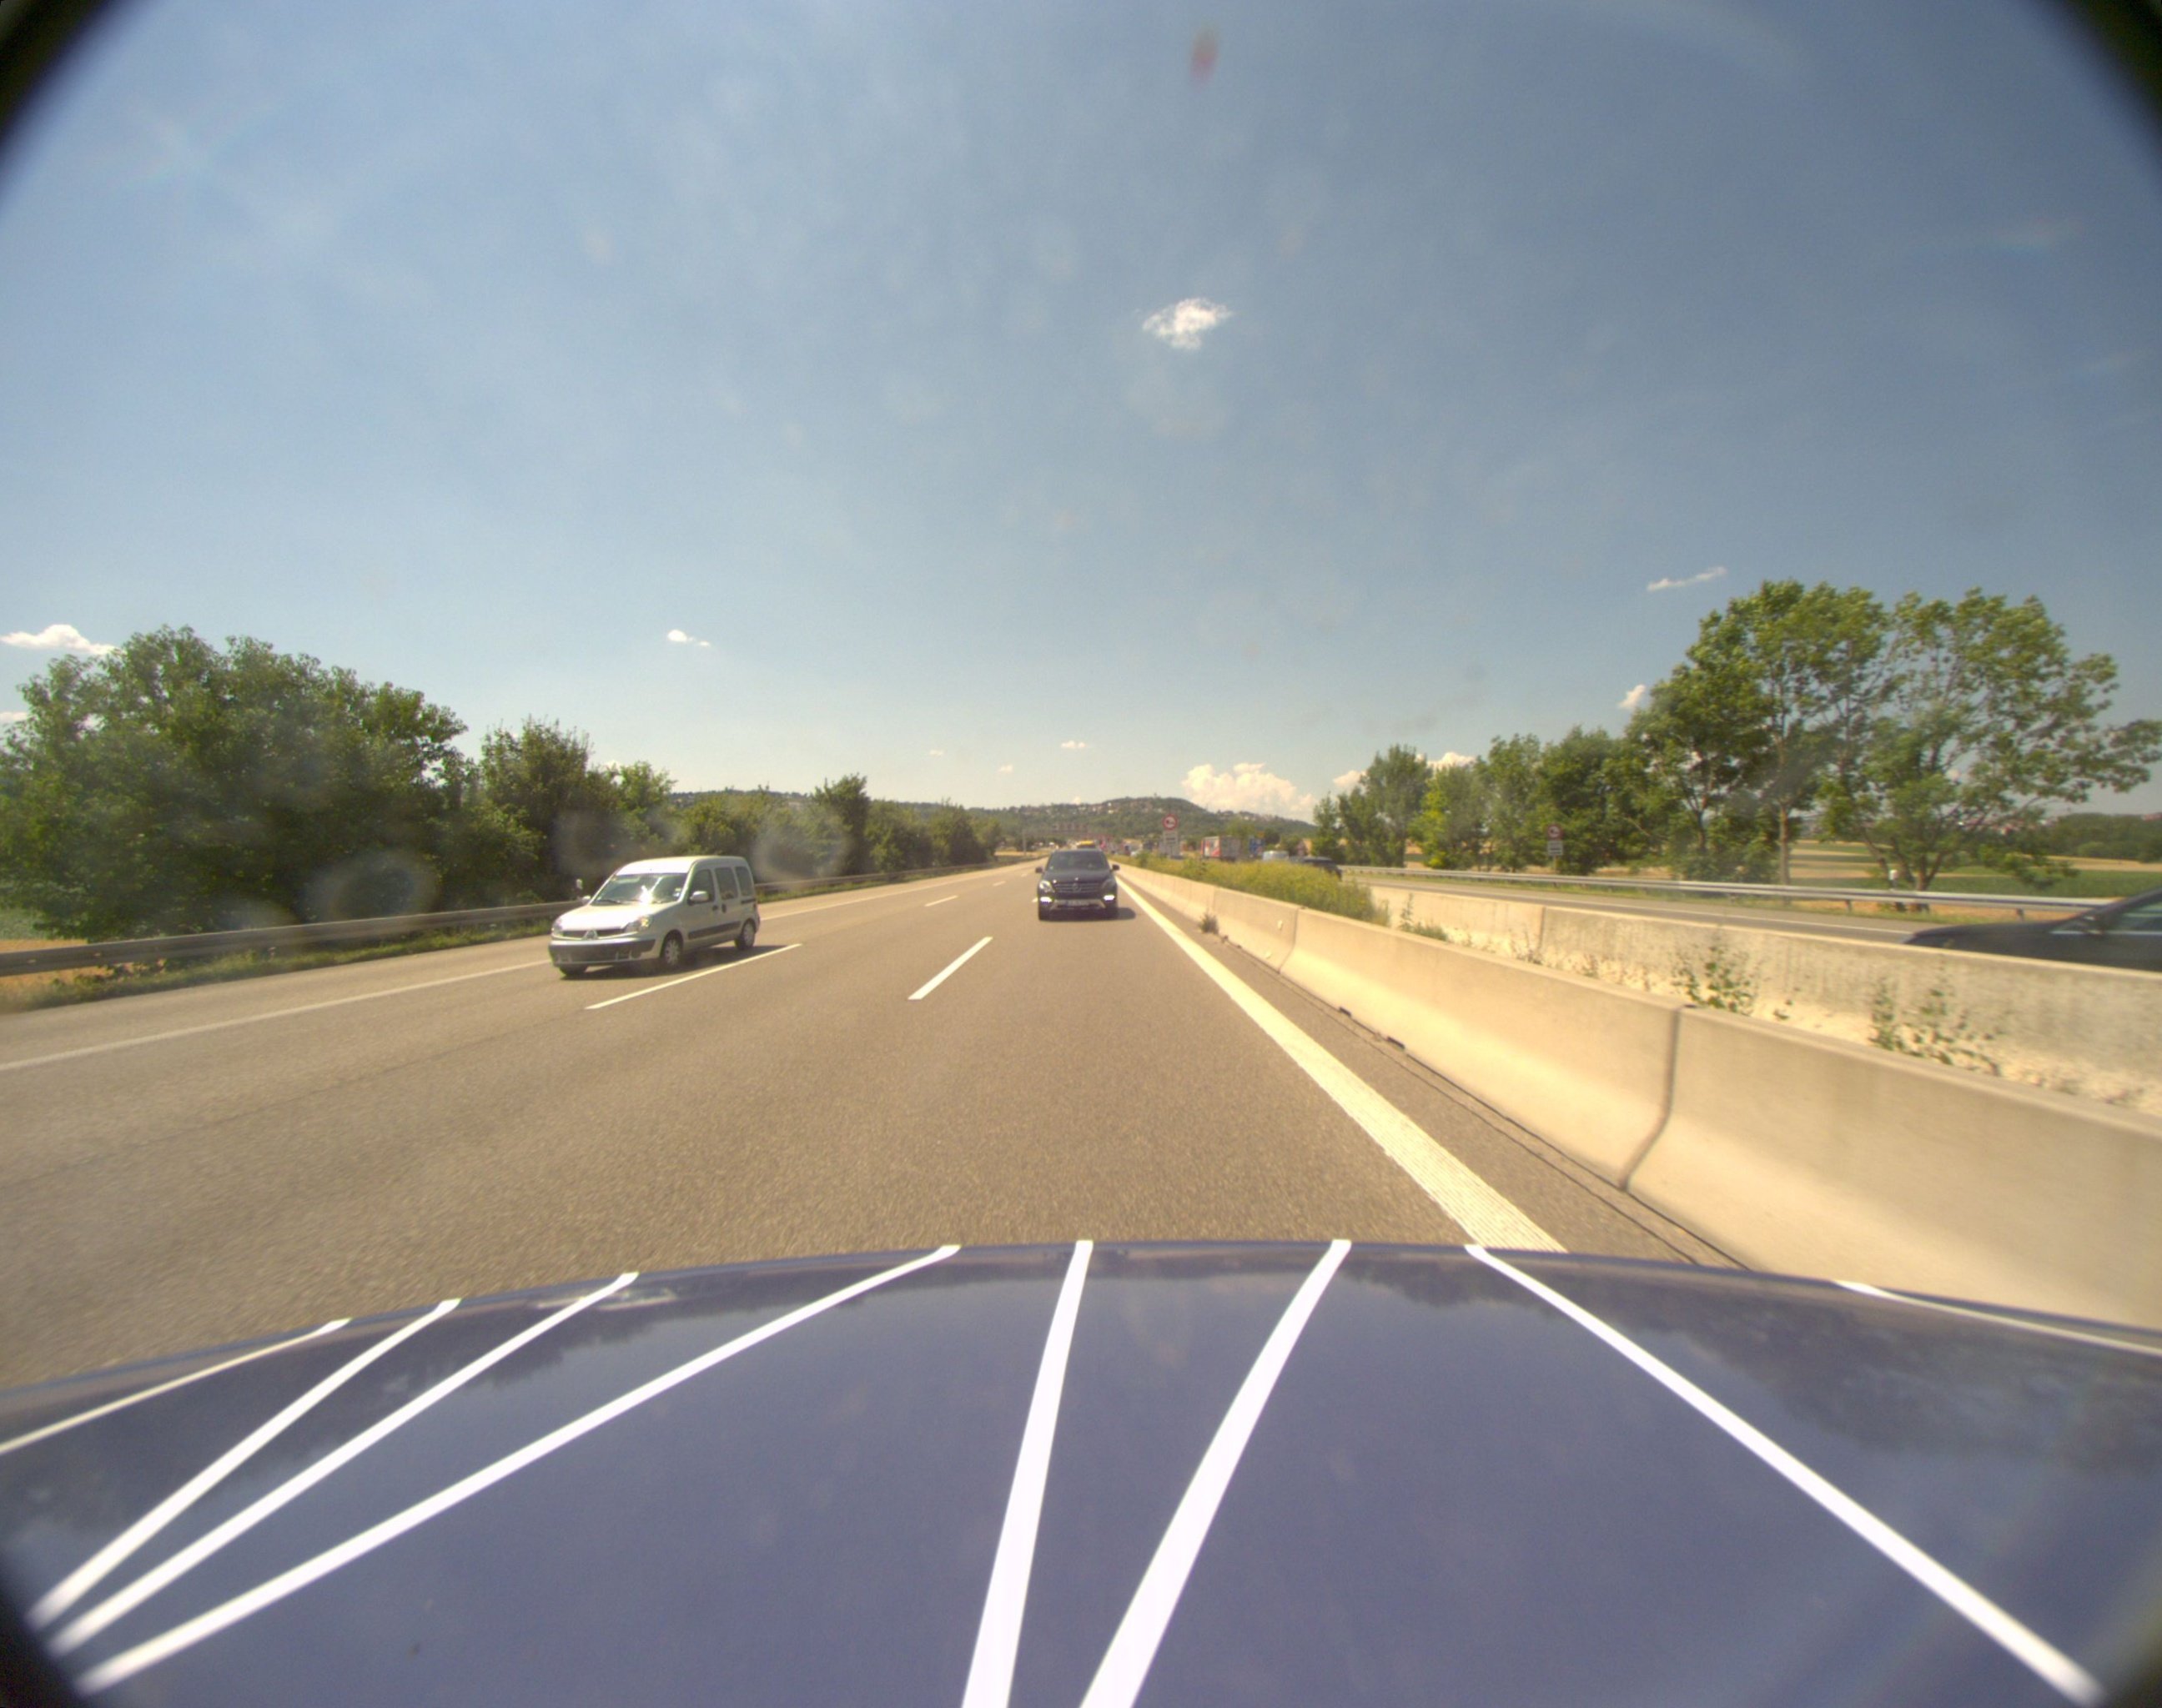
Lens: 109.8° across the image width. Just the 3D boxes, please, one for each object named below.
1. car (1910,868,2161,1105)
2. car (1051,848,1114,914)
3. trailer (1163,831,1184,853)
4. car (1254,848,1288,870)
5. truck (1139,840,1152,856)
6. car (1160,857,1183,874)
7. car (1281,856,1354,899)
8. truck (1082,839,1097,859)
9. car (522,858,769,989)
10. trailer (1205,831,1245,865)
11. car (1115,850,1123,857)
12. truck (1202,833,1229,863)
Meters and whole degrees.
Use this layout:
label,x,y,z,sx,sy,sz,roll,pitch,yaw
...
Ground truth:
label,x,y,z,sx,sy,sz,roll,pitch,yaw
car,7.821,0.874,4.205,1.677,1.478,4.397,-1,0,0
car,0.087,0.704,21.876,1.630,1.711,3.864,-1,0,2
trailer,18.304,-2.330,151.134,2.890,4.325,13.643,0,0,2
car,17.285,0.428,69.263,1.766,1.941,5.117,1,0,0
truck,18.155,-1.735,214.884,2.599,4.214,14.121,2,1,1
car,8.696,1.054,73.275,1.766,1.541,4.727,-1,0,2
car,8.792,0.841,28.569,1.543,1.478,3.773,-1,0,0
truck,1.466,-0.846,128.222,2.272,3.139,8.185,-2,2,1
car,-6.875,0.985,12.554,1.630,1.727,3.972,-2,0,2
trailer,17.317,-0.696,92.233,2.863,3.833,12.185,0,0,1
car,11.180,-0.160,224.771,1.998,1.934,4.794,0,1,0
truck,17.464,-0.738,98.985,2.863,3.833,4.000,0,1,1
